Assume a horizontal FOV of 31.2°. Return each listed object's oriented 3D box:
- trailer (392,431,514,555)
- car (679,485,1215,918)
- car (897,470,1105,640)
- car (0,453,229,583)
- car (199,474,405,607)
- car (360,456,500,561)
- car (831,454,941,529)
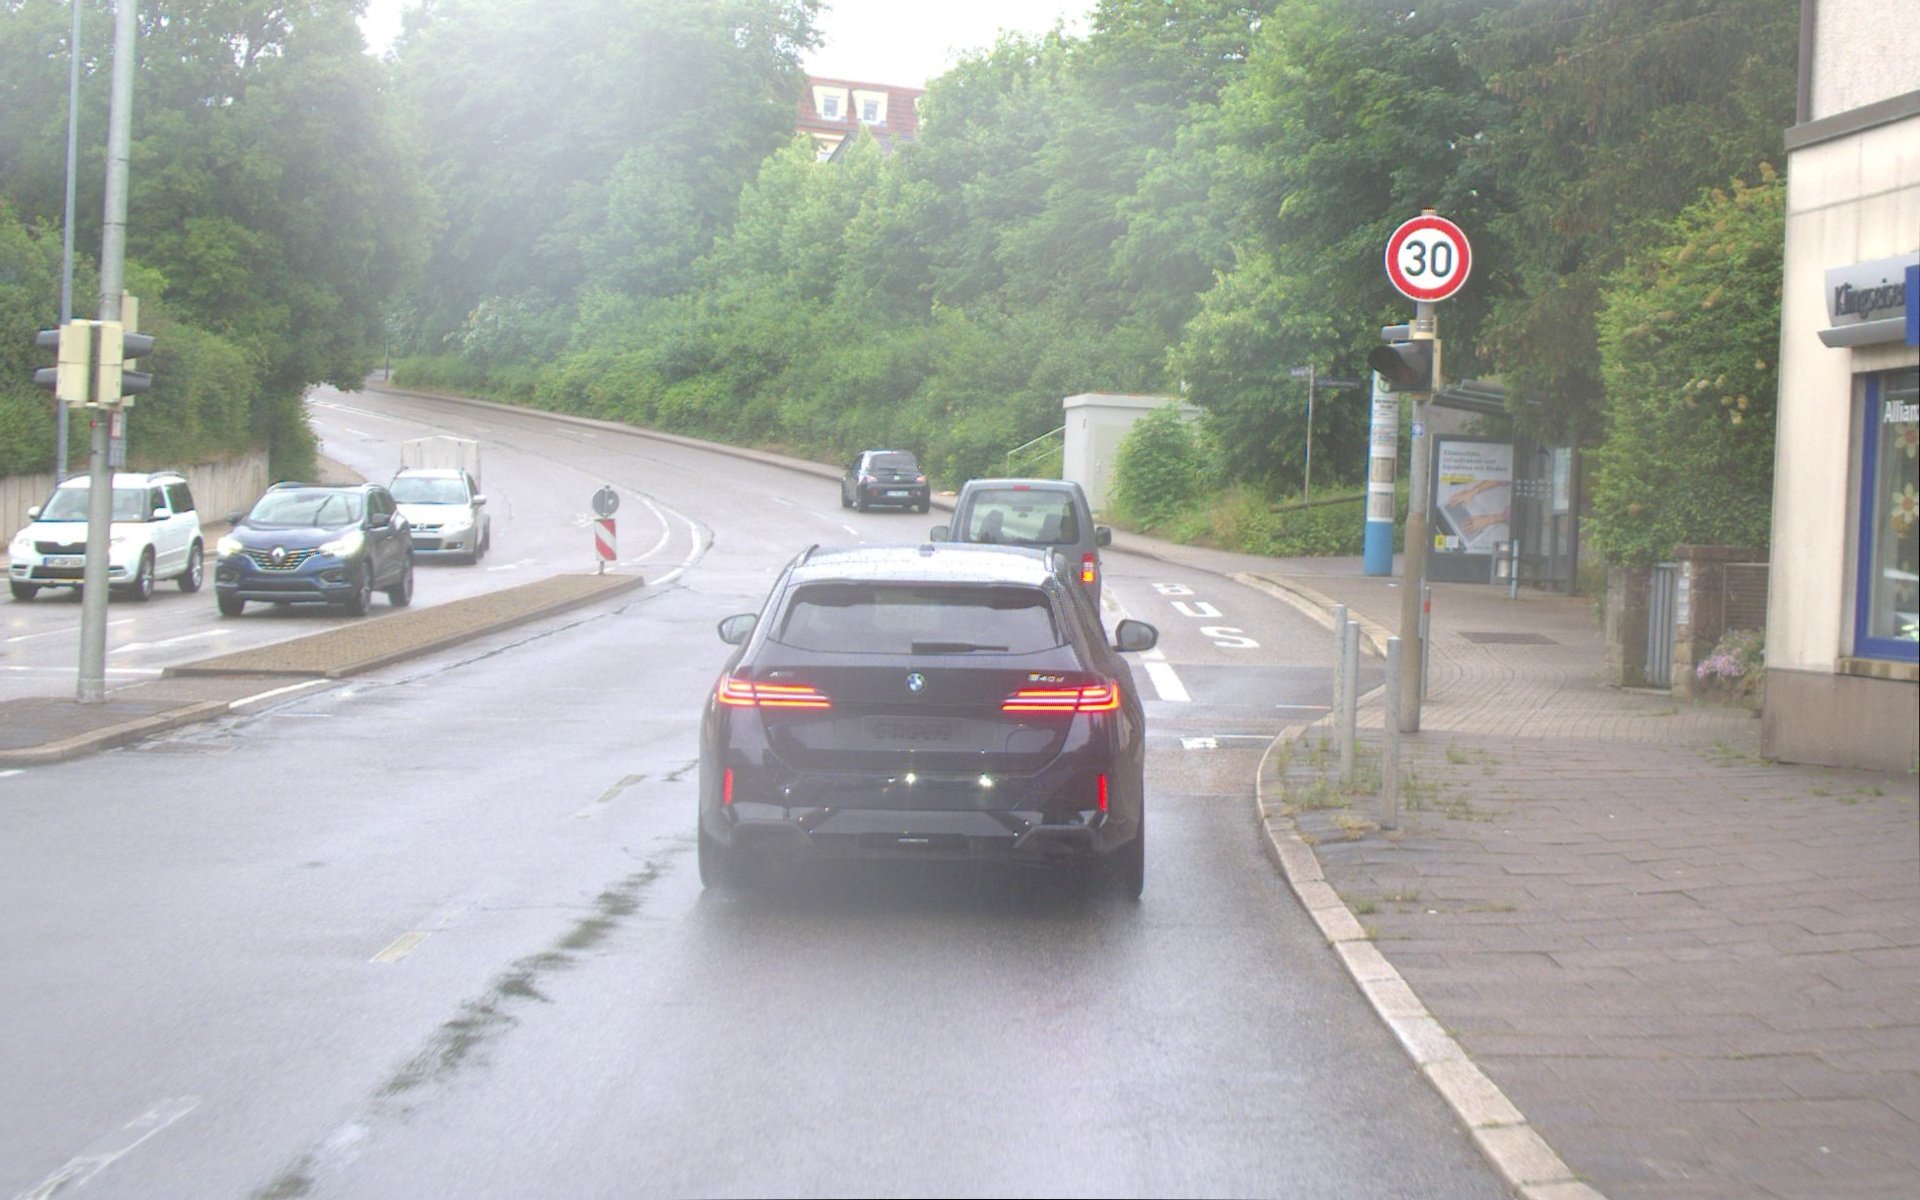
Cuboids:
[{"bbox_3d":[-9.351,-1.977,63.652,1.896,2.171,4.037,1,2,-4],"label":"trailer"},{"bbox_3d":[-0.154,0.409,15.486,1.993,1.581,4.663,2,-1,-3],"label":"car"},{"bbox_3d":[0.391,-0.545,37.969,1.993,1.742,4.001,1,2,-3],"label":"car"},{"bbox_3d":[-11.392,-1.095,46.414,1.824,1.651,4.466,1,1,4],"label":"car"},{"bbox_3d":[-8.158,-0.751,42.974,1.841,1.546,4.384,1,1,-2],"label":"car"},{"bbox_3d":[-9.101,-1.605,59.347,1.899,1.677,4.481,1,3,-3],"label":"car"},{"bbox_3d":[-1.801,-2.610,82.051,1.850,1.656,4.002,2,2,-12],"label":"car"}]
